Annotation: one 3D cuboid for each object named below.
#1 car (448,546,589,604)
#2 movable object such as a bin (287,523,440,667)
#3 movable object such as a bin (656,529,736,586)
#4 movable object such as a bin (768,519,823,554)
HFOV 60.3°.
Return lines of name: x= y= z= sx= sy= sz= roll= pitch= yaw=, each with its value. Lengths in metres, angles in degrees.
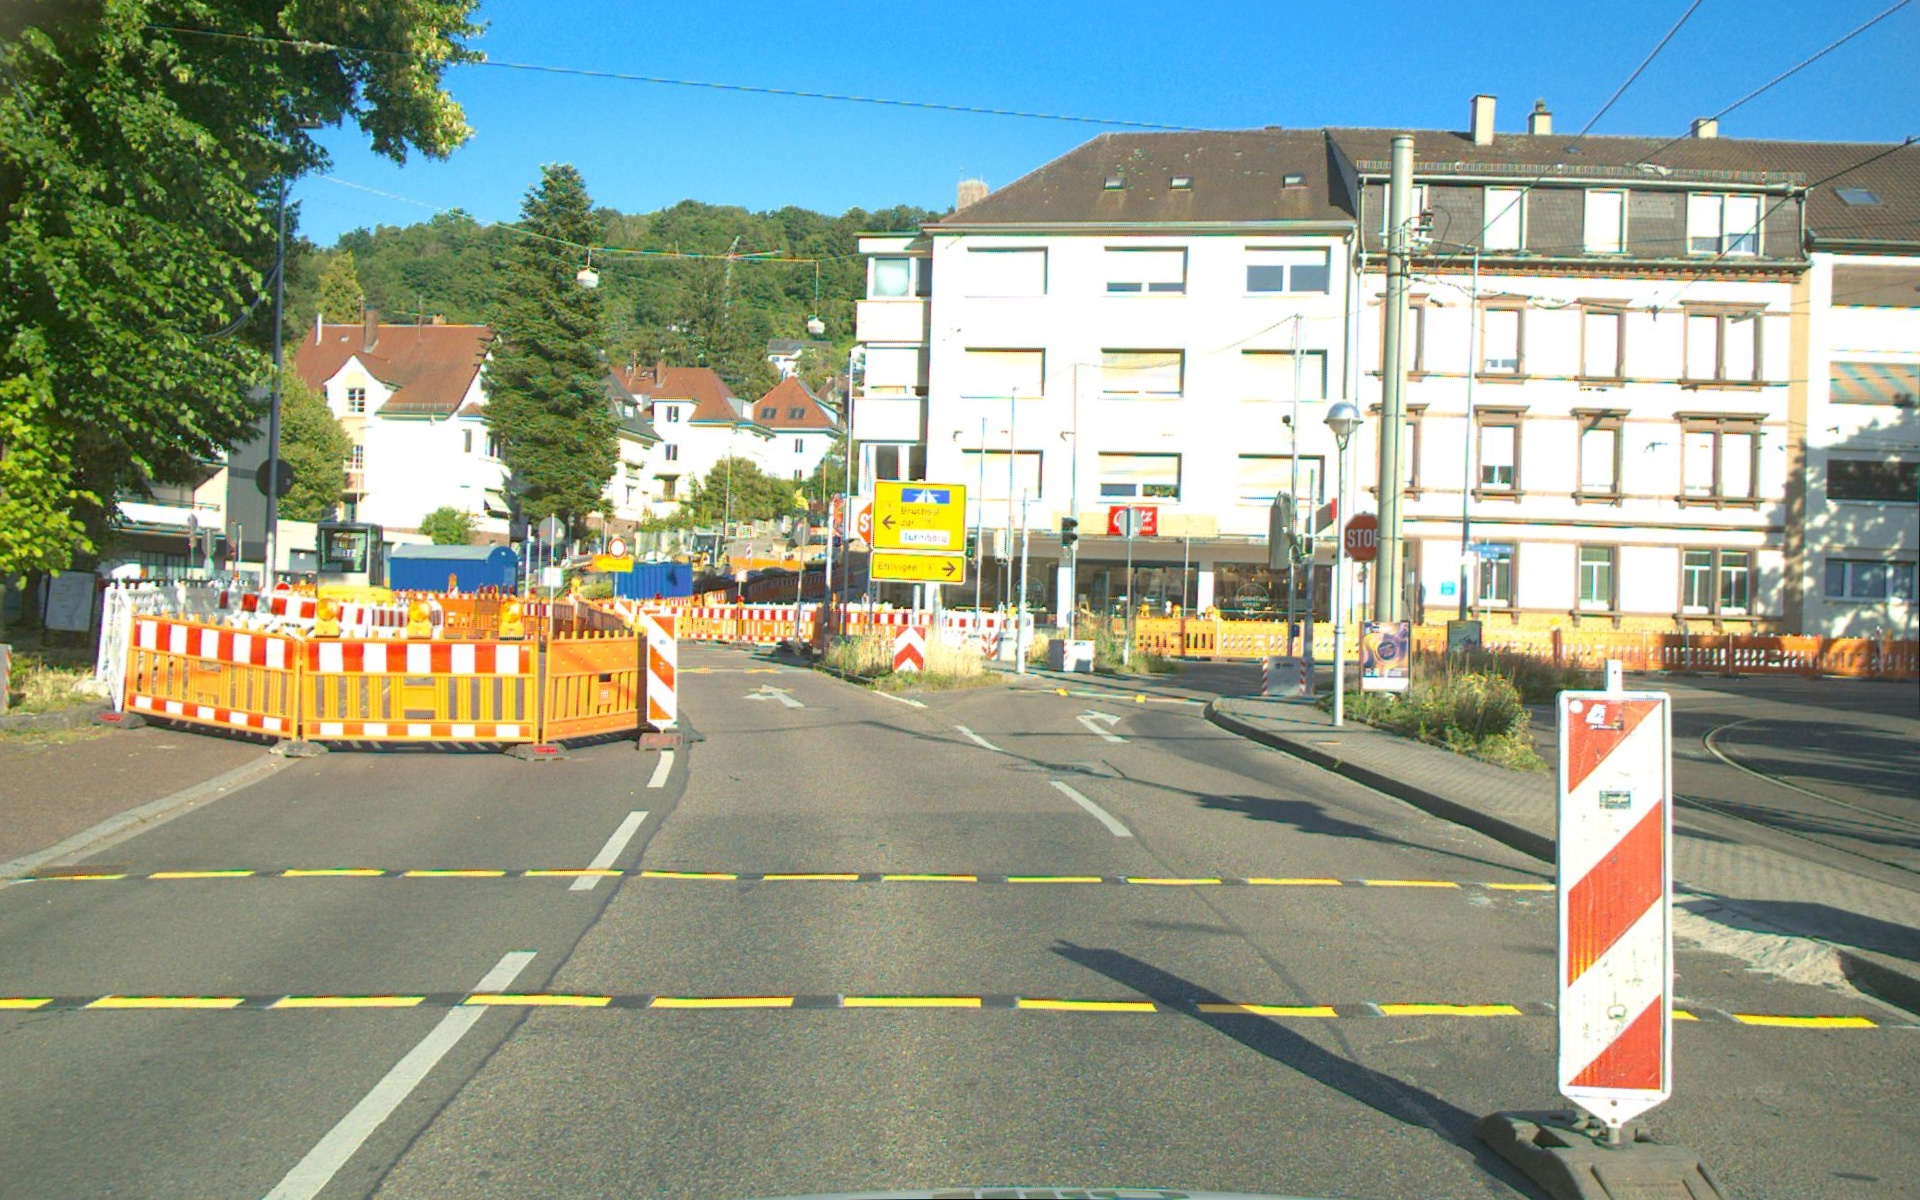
car: x=-17.462 y=-0.940 z=65.860 sx=2.529 sy=2.158 sz=6.154 roll=1 pitch=0 yaw=17
movable object such as a bin: x=-10.482 y=-0.095 z=29.327 sx=1.615 sy=2.365 sz=3.916 roll=1 pitch=0 yaw=-6
movable object such as a bin: x=-12.535 y=-2.002 z=78.780 sx=1.907 sy=2.538 sz=4.554 roll=1 pitch=0 yaw=17
movable object such as a bin: x=-11.378 y=-4.387 z=114.730 sx=2.510 sy=2.159 sz=5.789 roll=1 pitch=0 yaw=8
